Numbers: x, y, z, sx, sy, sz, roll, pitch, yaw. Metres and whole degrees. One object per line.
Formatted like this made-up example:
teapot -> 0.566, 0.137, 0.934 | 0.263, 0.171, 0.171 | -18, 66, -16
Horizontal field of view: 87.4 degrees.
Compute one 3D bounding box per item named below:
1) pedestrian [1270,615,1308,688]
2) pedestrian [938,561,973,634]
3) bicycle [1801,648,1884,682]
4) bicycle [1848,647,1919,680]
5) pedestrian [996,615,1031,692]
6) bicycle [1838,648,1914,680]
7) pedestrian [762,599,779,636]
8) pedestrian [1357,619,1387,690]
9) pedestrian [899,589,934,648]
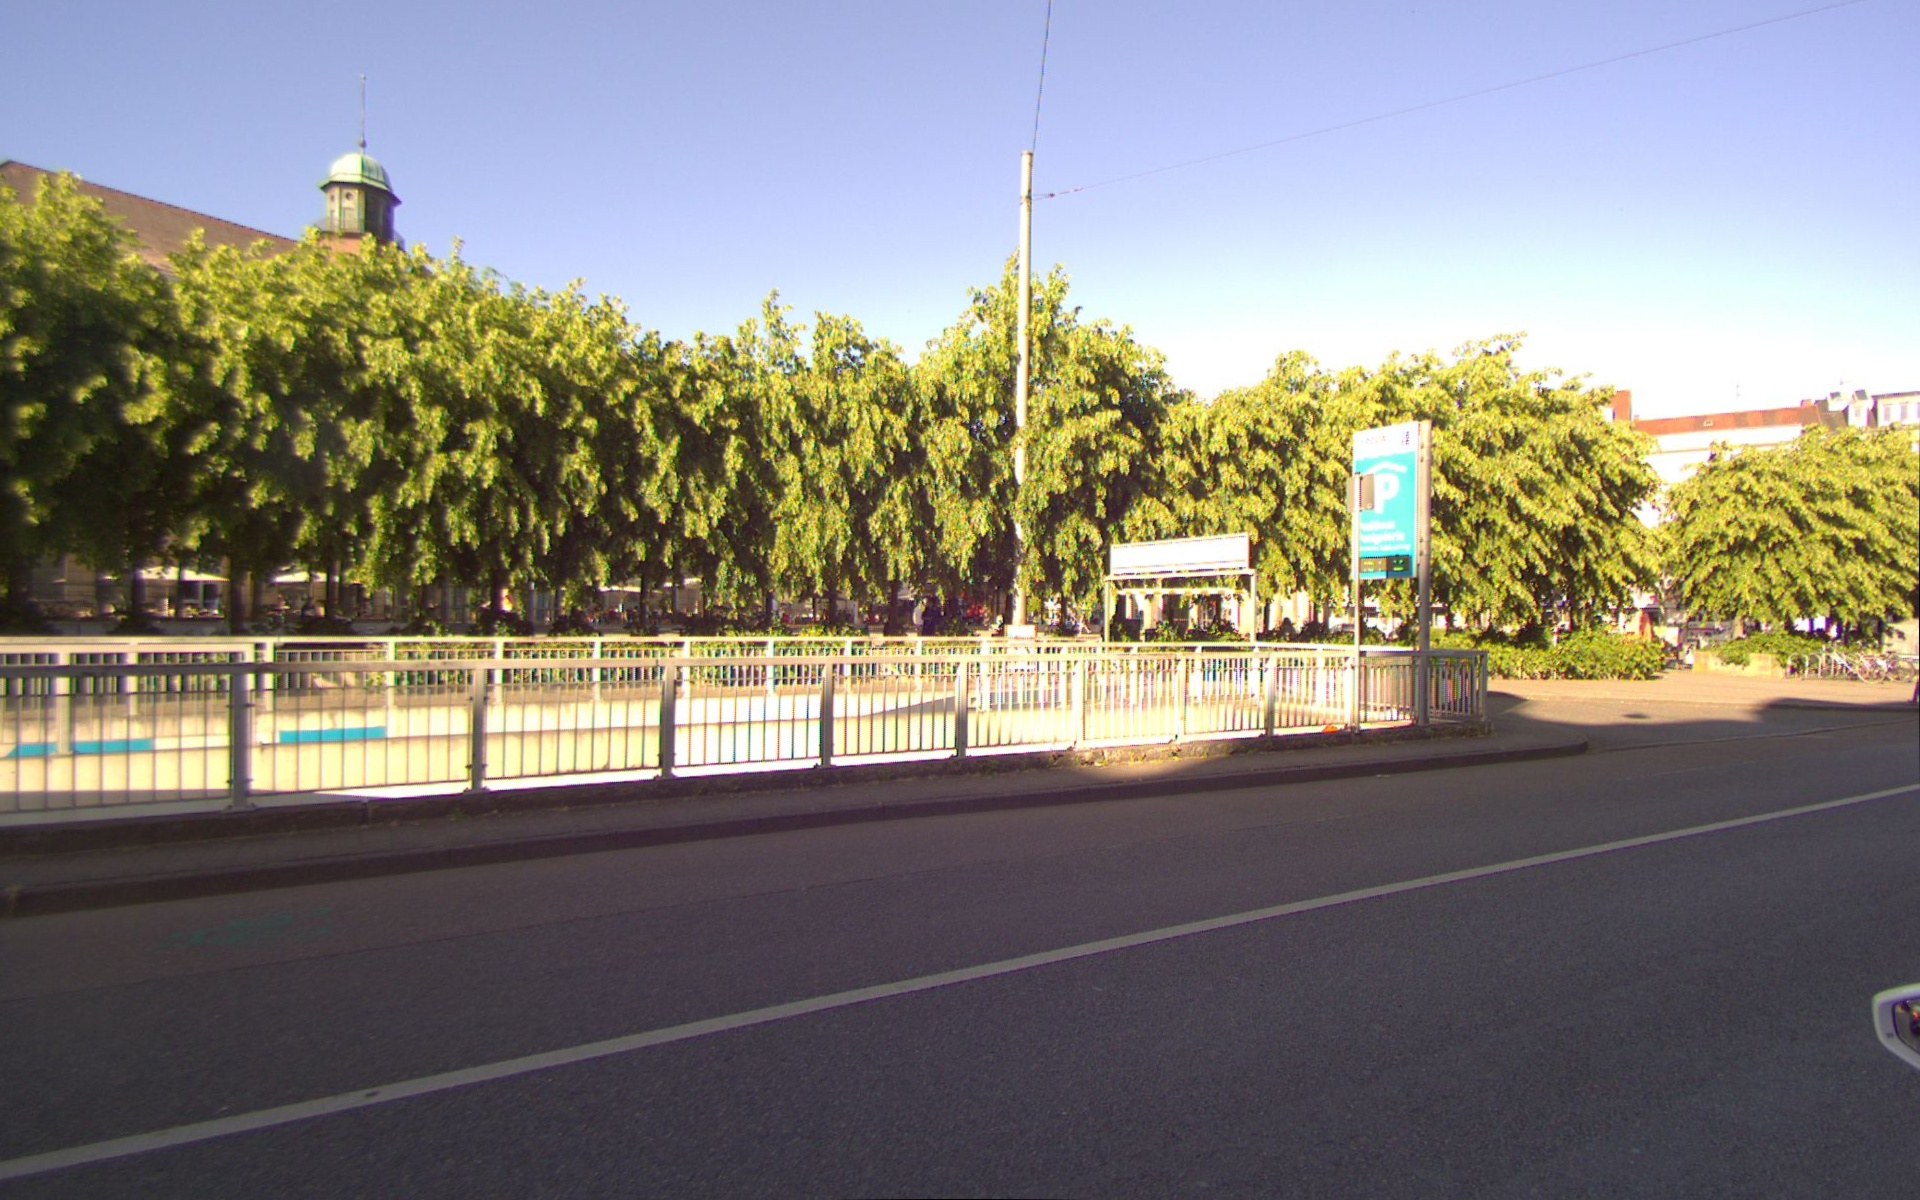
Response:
pedestrian -> 8.747, 1.363, 26.700 | 0.722, 1.881, 0.579 | 1, 0, -27
pedestrian -> -0.115, -0.064, 26.103 | 0.672, 1.881, 0.576 | 1, 0, -40
bicycle -> 23.664, 1.732, 26.962 | 0.467, 0.779, 1.654 | 1, 0, -20
bicycle -> 25.468, 1.736, 27.637 | 0.468, 0.779, 1.468 | 1, 0, -26
pedestrian -> 1.327, 1.322, 24.964 | 0.595, 1.881, 0.577 | 1, 0, -33
bicycle -> 24.964, 1.731, 27.408 | 0.435, 0.779, 1.469 | 1, 0, -24
pedestrian -> -9.440, 0.859, 50.057 | 0.597, 1.816, 0.575 | 1, 0, -43
pedestrian -> 11.266, 1.478, 27.470 | 0.574, 1.881, 0.598 | 2, 0, 42
pedestrian -> -1.349, 0.559, 31.083 | 0.918, 1.775, 0.729 | 1, 0, -14
